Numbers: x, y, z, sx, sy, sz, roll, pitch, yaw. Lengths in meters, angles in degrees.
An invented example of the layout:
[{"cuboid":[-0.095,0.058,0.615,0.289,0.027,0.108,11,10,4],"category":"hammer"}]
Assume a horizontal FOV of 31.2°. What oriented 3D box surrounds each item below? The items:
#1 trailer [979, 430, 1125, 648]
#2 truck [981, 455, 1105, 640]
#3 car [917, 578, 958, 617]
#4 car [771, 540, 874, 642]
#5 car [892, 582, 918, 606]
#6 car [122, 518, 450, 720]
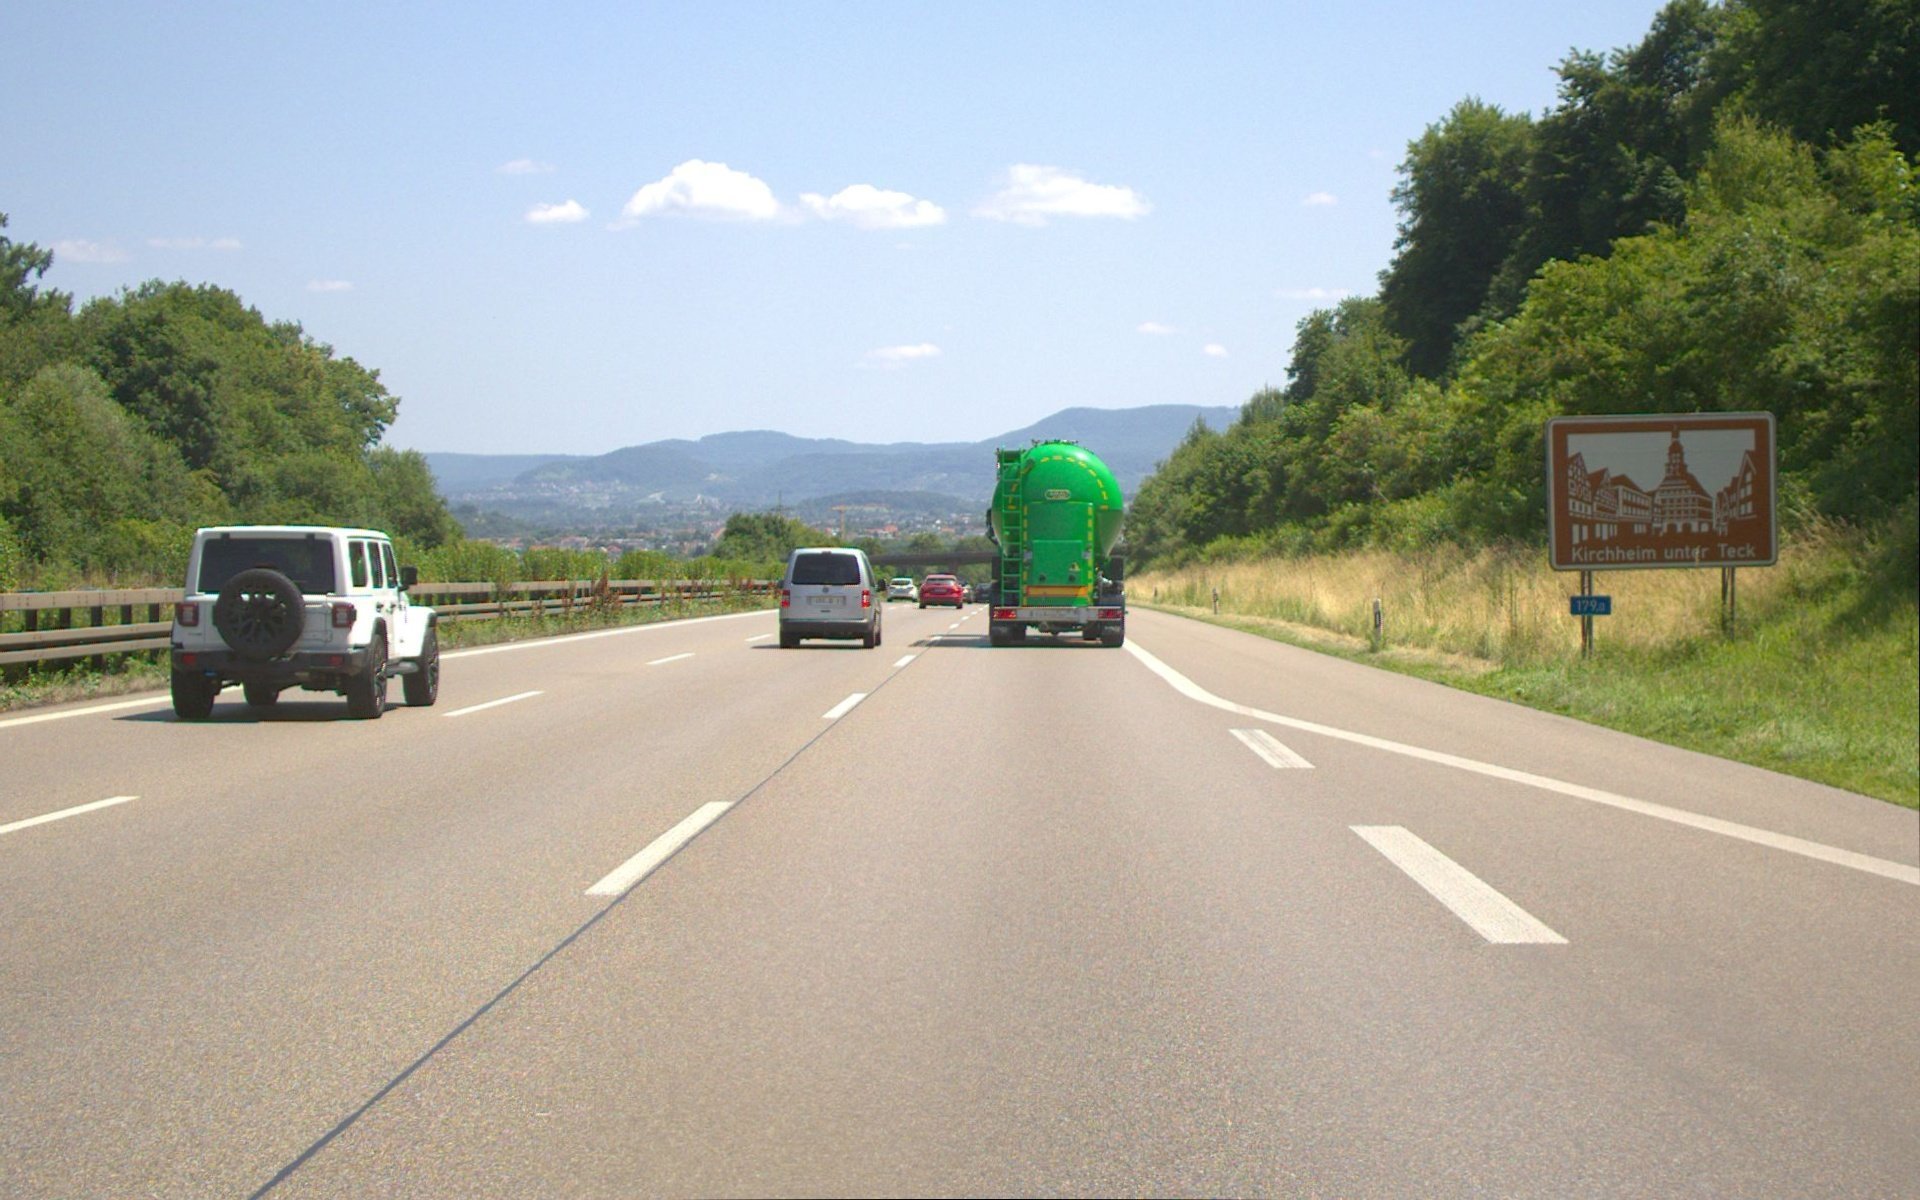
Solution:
[{"cuboid":[1.743,-1.182,69.189,2.587,4.014,10.470,1,1,0],"category":"trailer"},{"cuboid":[1.754,-1.122,74.380,2.509,3.829,4.892,1,0,0],"category":"truck"},{"cuboid":[-0.924,-0.111,143.413,1.446,1.545,3.355,1,1,4],"category":"car"},{"cuboid":[-2.526,-0.186,64.098,1.745,1.823,4.801,1,1,-1],"category":"car"},{"cuboid":[-3.362,-0.369,210.382,1.401,1.391,3.212,1,1,2],"category":"car"},{"cuboid":[-6.541,0.154,33.916,2.084,1.823,4.753,1,1,3],"category":"car"}]
